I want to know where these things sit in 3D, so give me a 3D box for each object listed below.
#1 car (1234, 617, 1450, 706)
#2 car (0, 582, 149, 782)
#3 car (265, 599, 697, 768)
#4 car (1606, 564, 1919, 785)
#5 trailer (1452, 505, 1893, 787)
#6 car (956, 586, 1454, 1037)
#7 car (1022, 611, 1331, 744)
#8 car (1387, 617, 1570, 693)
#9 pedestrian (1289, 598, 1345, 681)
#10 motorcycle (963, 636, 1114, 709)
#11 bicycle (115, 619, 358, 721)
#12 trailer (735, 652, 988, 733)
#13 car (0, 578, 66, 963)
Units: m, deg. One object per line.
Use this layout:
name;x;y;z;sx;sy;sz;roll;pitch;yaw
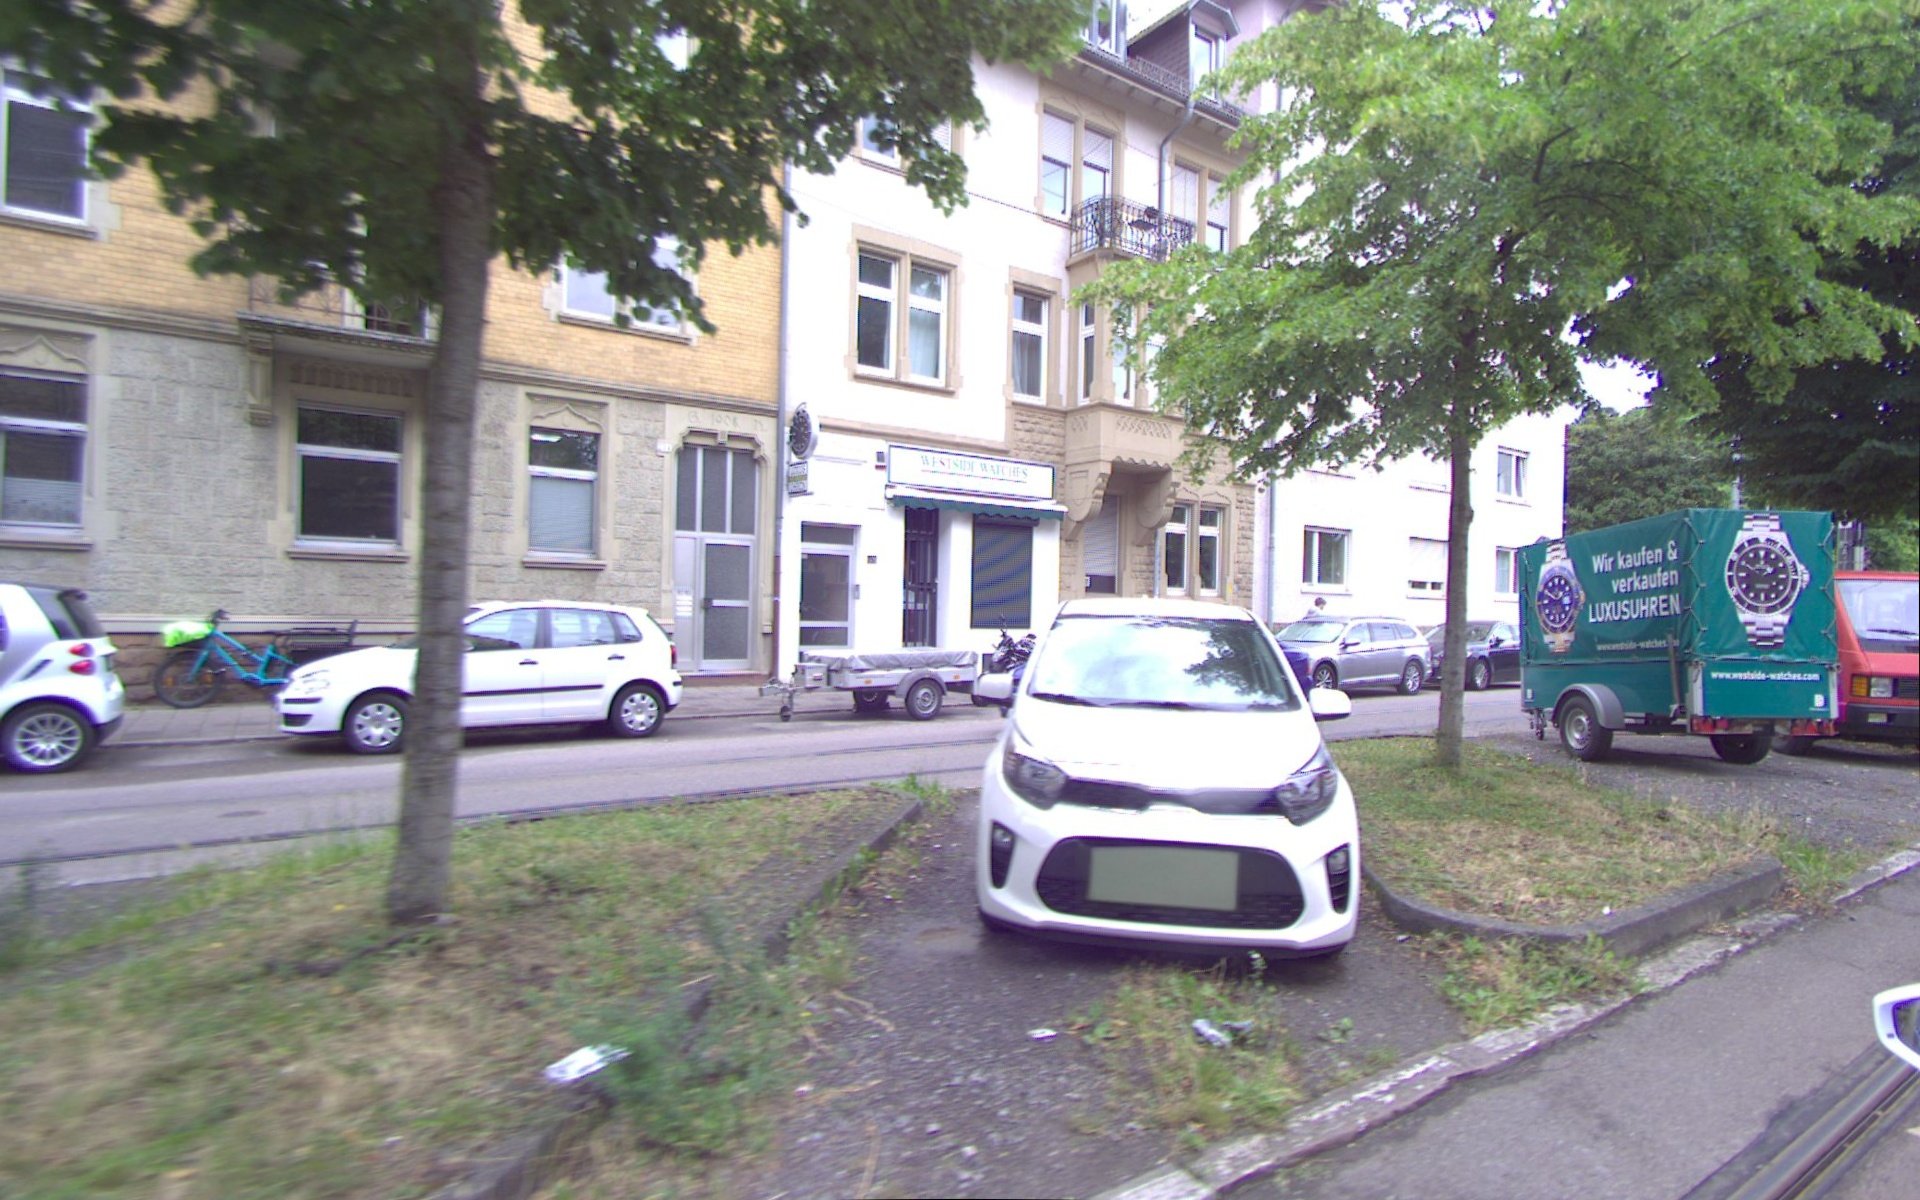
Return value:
car;7.269;1.095;18.924;4.527;1.462;1.623;2;0;-37
car;-8.530;0.623;8.138;2.923;1.571;1.623;2;0;-36
car;-4.955;0.773;10.616;3.886;1.462;1.623;2;0;-36
car;9.706;0.717;11.391;1.920;2.000;4.770;1;-1;4
trailer;6.997;0.411;10.418;1.893;2.375;3.671;1;0;-1
car;1.080;0.728;5.392;1.655;1.482;3.866;1;0;8
car;2.788;0.903;12.611;3.846;1.401;1.633;2;-1;-36
car;11.356;1.158;21.879;4.717;1.462;1.623;2;0;-37
pedestrian;7.921;0.873;22.317;0.891;1.790;0.792;1;-1;-36
motorcycle;1.202;1.104;15.349;2.195;1.052;0.708;2;-1;-18
bicycle;-8.429;0.784;11.815;2.238;1.087;0.705;2;0;-37
trailer;-1.261;1.161;13.279;3.047;0.904;1.444;2;-2;-36
car;-4.678;0.606;1.917;1.860;1.454;4.342;1;0;4
